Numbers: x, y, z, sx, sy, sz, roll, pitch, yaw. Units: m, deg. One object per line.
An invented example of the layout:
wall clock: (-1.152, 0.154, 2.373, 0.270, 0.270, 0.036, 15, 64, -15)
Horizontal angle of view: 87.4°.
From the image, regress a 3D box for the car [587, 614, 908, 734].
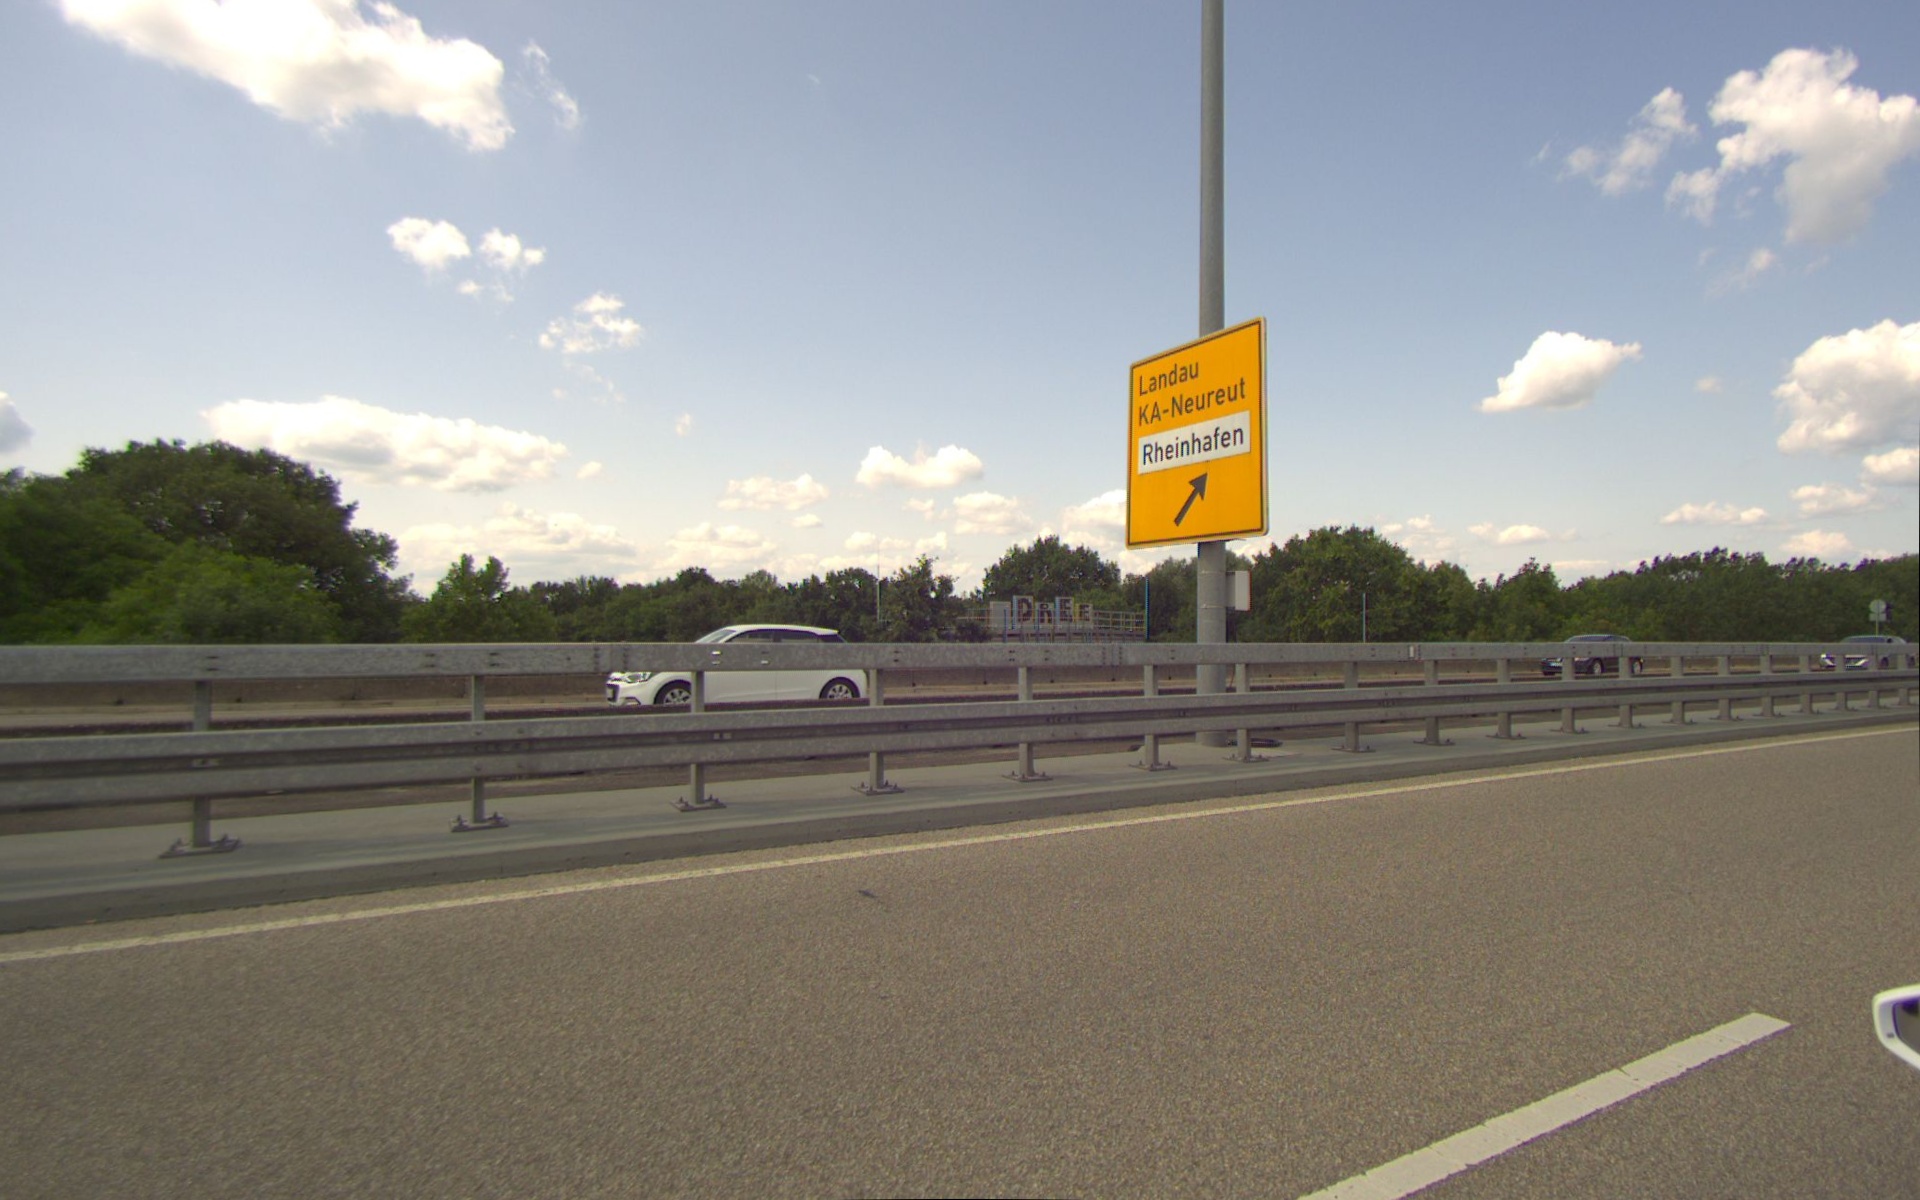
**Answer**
car: (-3.299, 1.076, 15.893, 4.656, 1.617, 1.789, 1, 0, -30)

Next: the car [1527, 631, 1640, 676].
car: (21.447, 1.813, 34.514, 3.953, 1.420, 1.670, 1, -1, -31)

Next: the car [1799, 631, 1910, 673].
car: (33.476, 1.907, 37.568, 4.566, 1.439, 1.769, 1, -1, -30)
